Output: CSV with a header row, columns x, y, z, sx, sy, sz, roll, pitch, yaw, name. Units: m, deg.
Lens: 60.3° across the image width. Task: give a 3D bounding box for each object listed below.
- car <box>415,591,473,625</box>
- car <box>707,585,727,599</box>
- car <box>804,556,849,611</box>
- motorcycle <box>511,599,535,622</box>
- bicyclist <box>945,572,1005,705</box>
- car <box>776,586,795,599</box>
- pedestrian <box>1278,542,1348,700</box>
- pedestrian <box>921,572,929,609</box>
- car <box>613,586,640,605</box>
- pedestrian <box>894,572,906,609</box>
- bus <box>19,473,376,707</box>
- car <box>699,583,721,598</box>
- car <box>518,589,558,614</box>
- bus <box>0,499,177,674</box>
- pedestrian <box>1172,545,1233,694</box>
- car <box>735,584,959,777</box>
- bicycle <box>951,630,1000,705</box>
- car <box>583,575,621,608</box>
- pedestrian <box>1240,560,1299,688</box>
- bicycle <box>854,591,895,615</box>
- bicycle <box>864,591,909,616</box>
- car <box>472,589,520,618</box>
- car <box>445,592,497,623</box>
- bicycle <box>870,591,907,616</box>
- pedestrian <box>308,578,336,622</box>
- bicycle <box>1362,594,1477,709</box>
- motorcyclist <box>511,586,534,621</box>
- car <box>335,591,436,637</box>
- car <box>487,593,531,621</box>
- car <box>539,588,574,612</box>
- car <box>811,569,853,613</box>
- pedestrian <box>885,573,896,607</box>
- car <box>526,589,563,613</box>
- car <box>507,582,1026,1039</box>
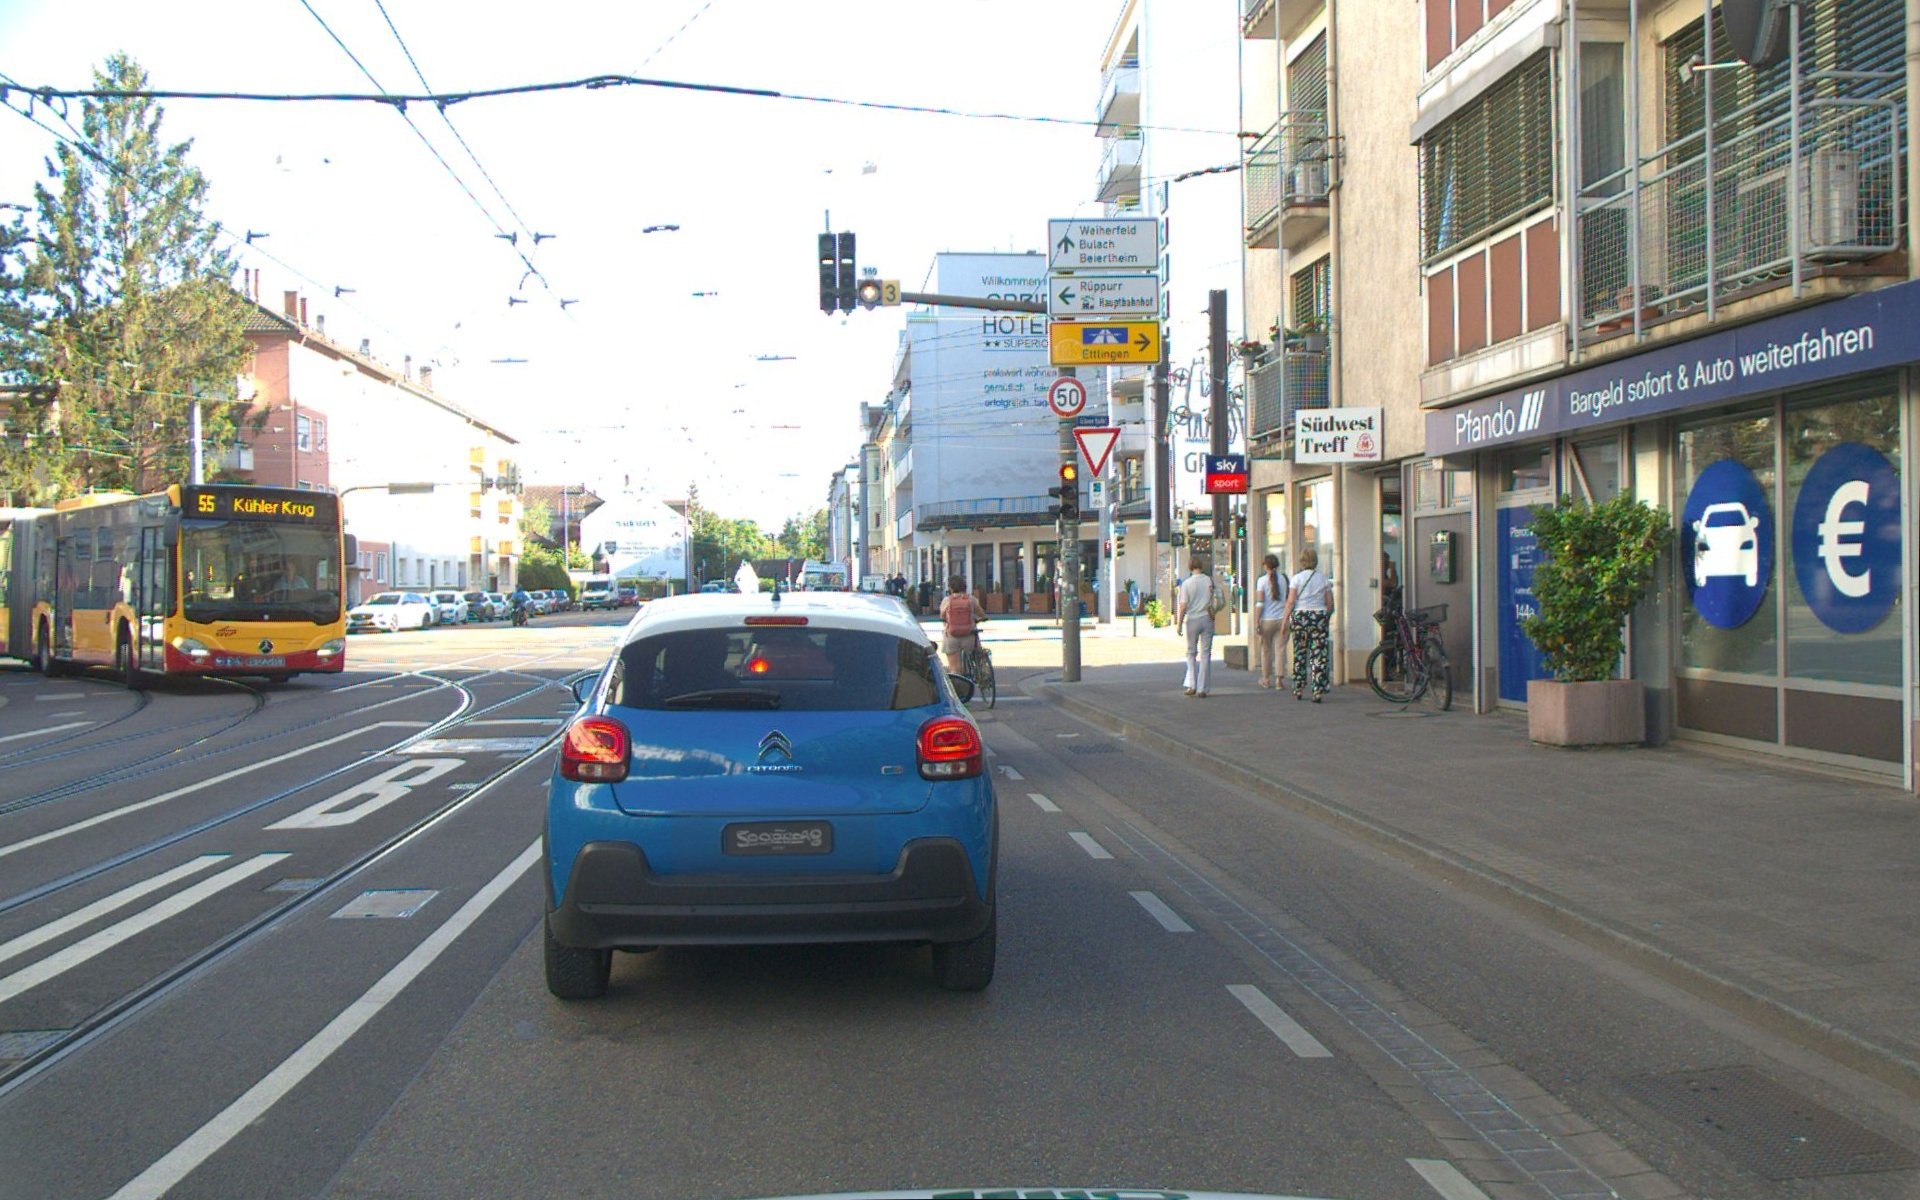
x,y,z,sx,sy,sz,roll,pitch,yaw,name
-24.718,0.350,79.321,1.874,1.523,3.995,-1,1,-6,car
-27.480,-0.890,186.996,1.982,1.552,3.995,-1,1,-6,car
-5.944,-0.739,73.332,1.955,2.366,3.996,0,0,-5,car
-17.883,0.417,67.692,0.603,0.879,1.670,-1,1,-2,motorcycle
0.183,0.483,21.404,0.711,1.674,0.789,-1,0,-2,bicyclist
-17.602,-0.778,166.519,1.722,1.281,3.824,-1,1,-9,car
3.912,0.226,18.337,0.530,1.701,0.650,-3,1,-4,pedestrian
-1.518,-0.394,71.206,0.279,1.583,0.304,-1,0,-11,pedestrian
-29.135,-0.407,144.568,1.982,1.552,3.995,-1,1,-6,car
-2.587,-0.402,71.624,0.482,1.583,0.383,-1,0,-6,pedestrian
-12.965,-0.161,27.445,2.707,3.213,10.044,-1,1,-41,bus
-25.599,-1.001,169.553,1.982,1.552,3.995,-1,1,-6,car
-27.038,0.104,106.135,1.874,1.523,3.995,-1,1,-6,car
-19.230,-0.254,33.737,7.429,3.217,2.736,0,1,37,bus
2.854,0.220,19.486,0.530,1.701,0.624,-3,2,-4,pedestrian
-0.940,0.599,14.730,1.703,1.445,3.998,-1,1,-2,car
0.187,0.866,21.791,0.489,0.879,1.747,-1,1,-4,bicycle
-25.825,-0.660,119.396,2.164,2.290,4.671,-1,1,-6,car
3.830,0.284,20.473,0.530,1.533,0.610,-3,2,-4,pedestrian
-3.585,0.138,69.397,1.685,0.973,0.701,-1,1,-1,bicycle
-3.019,0.142,68.061,1.835,0.973,0.701,-1,1,-1,bicycle
-25.843,0.167,92.201,1.874,1.523,3.995,-1,1,-6,car
-25.416,0.374,86.078,1.874,1.523,3.995,-1,1,-6,car
-2.889,0.149,67.006,1.473,0.973,0.701,-1,1,-1,bicycle
-25.468,-0.002,66.030,0.826,1.720,0.737,-1,0,0,pedestrian
4.700,0.497,17.030,0.520,1.091,1.809,-1,1,-5,bicycle
-17.871,0.125,67.536,0.704,1.402,0.911,-1,1,-2,motorcyclist
-21.107,0.486,60.915,1.810,1.601,4.404,-1,1,5,car
-26.638,0.407,97.745,1.874,1.523,3.995,-1,1,-6,car
-28.321,0.000,116.180,1.834,1.601,3.996,-1,1,-5,car
-5.331,-0.361,68.441,1.699,1.780,3.210,0,0,-5,car
-3.234,-0.458,77.277,0.481,1.583,0.648,-1,1,-2,pedestrian
-27.883,0.080,111.103,1.874,1.523,3.995,-1,1,-6,car
-0.901,0.669,7.495,1.711,1.488,3.993,0,1,-8,car
